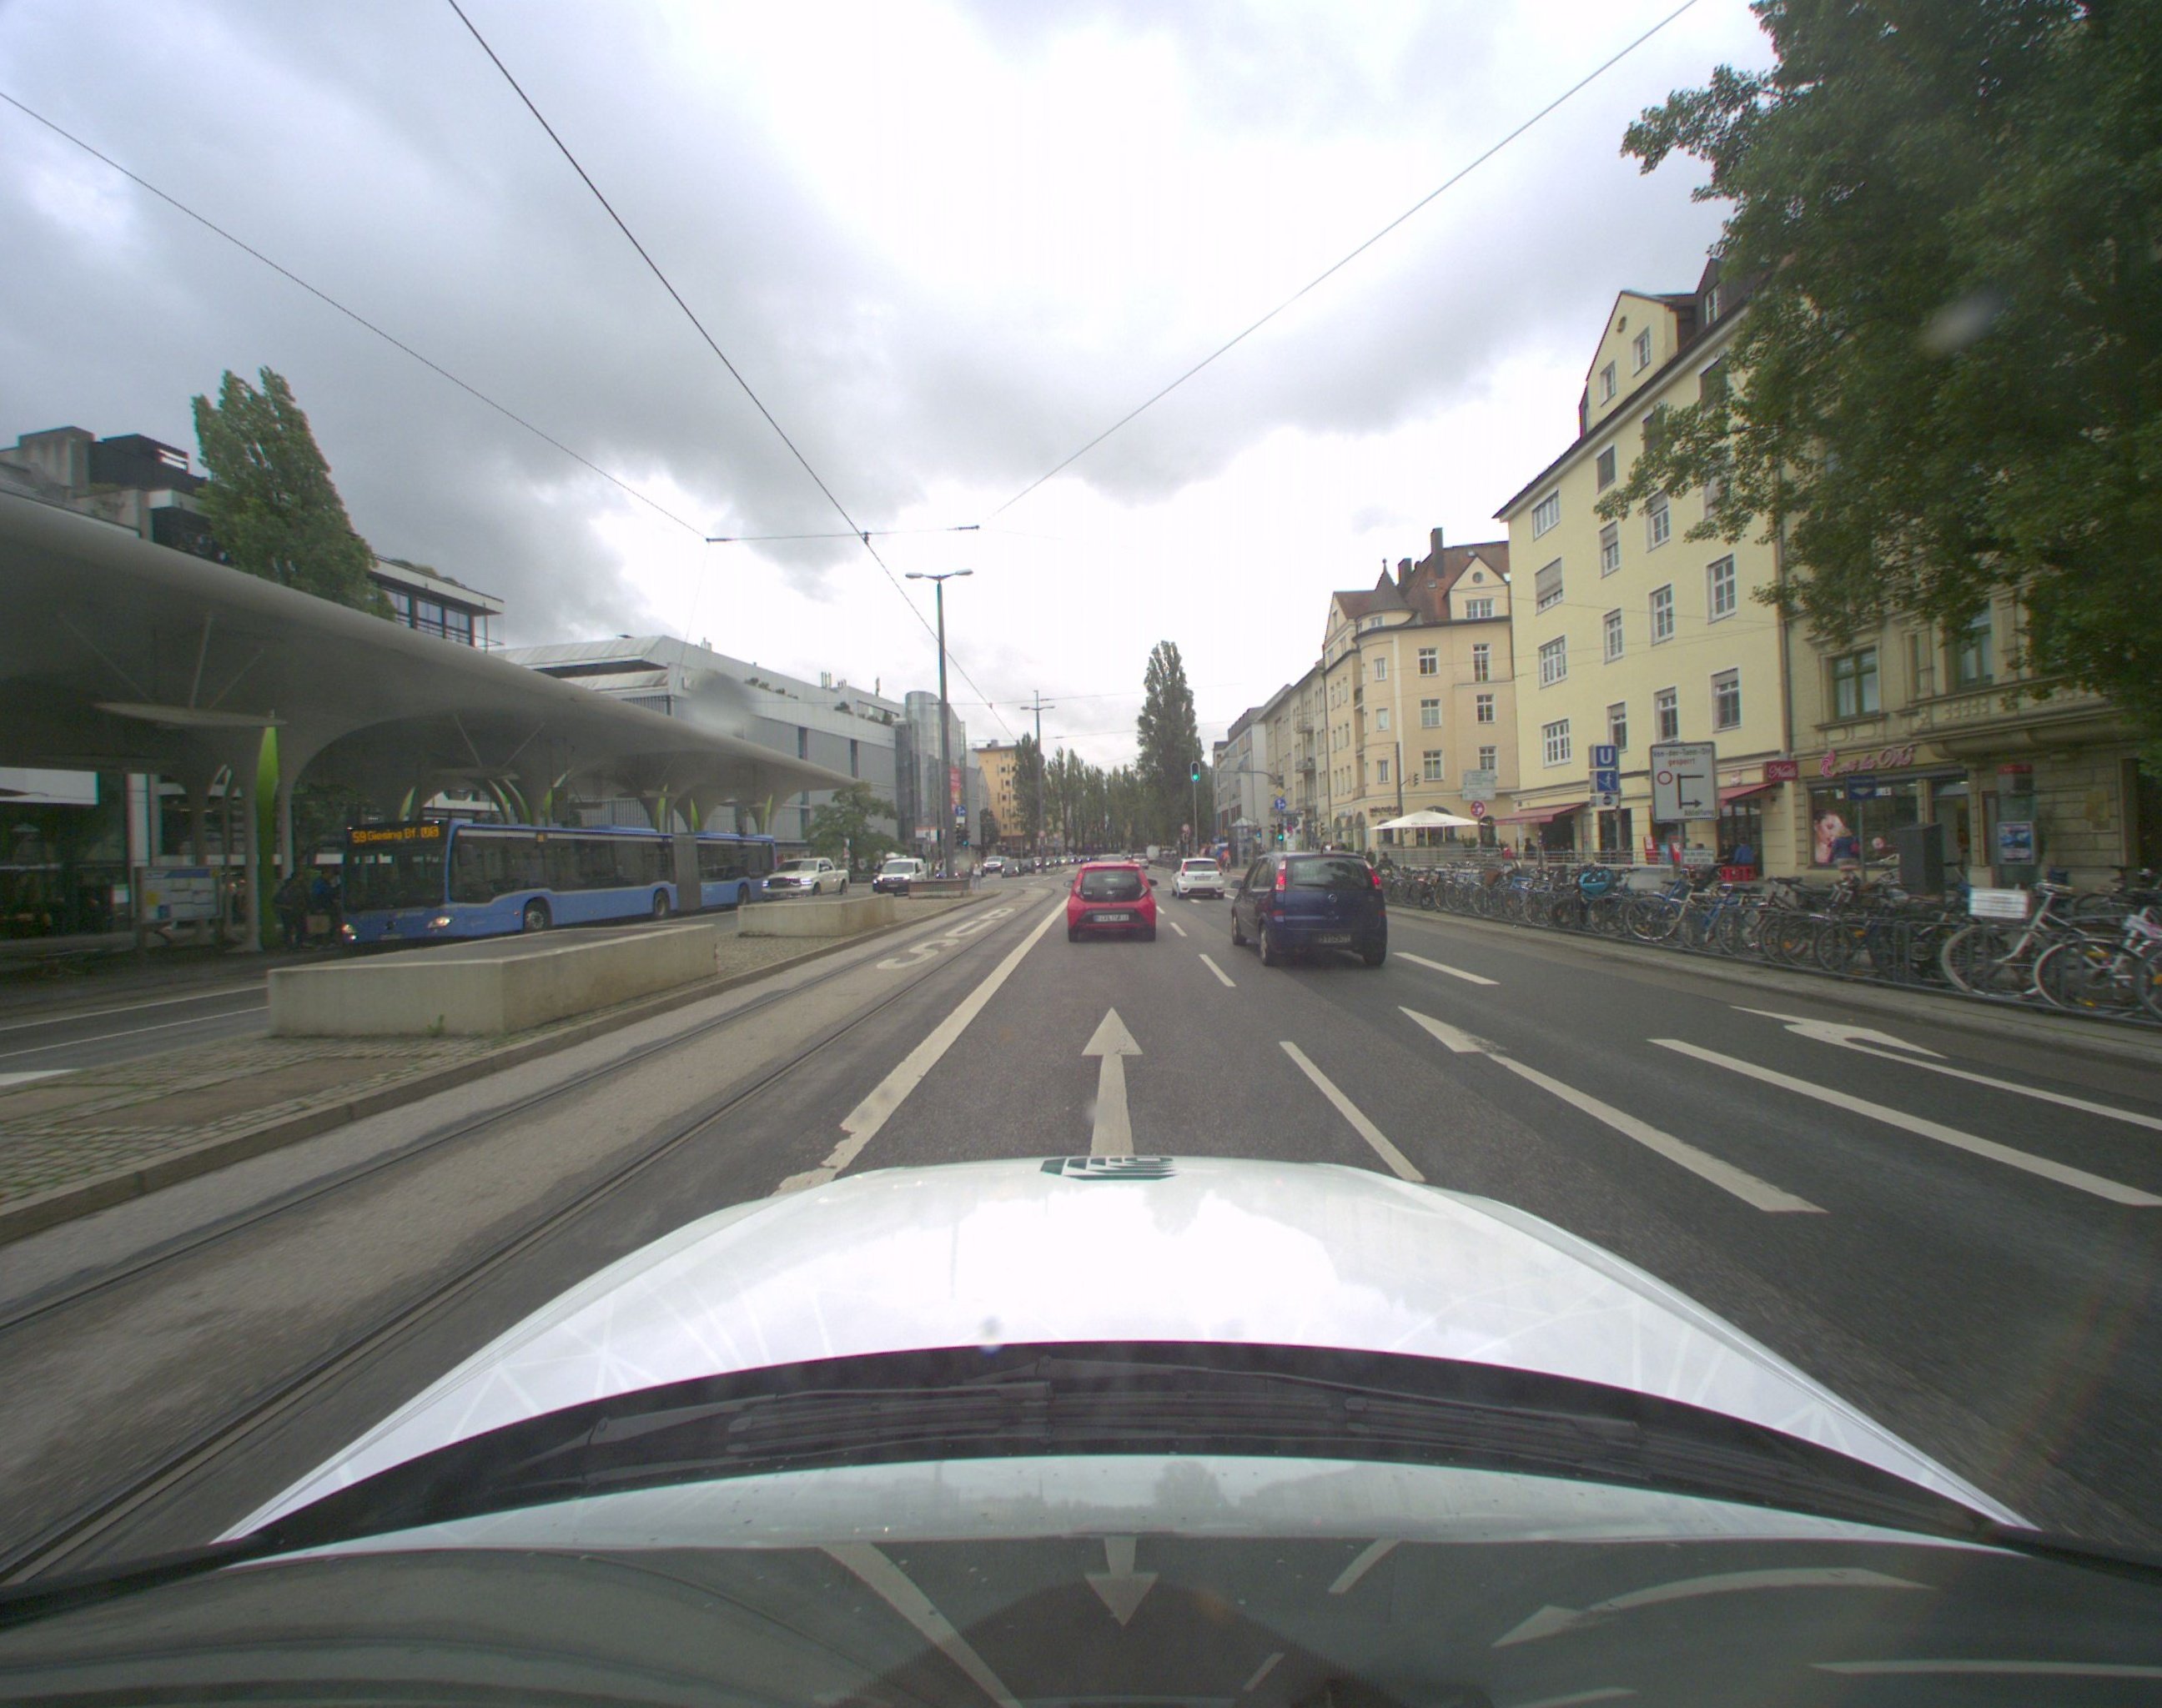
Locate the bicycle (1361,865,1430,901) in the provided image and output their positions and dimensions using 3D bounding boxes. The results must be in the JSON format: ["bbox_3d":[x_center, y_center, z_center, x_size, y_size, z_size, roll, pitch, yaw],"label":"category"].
[{"bbox_3d":[9.163,0.843,23.769,1.818,0.996,0.350,-3,-1,42],"label":"bicycle"}]

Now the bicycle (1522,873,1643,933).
[{"bbox_3d":[8.952,0.849,14.599,1.819,0.995,0.327,0,1,45],"label":"bicycle"}]

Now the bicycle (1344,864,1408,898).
[{"bbox_3d":[9.119,0.844,25.234,1.818,0.996,0.350,-3,-1,42],"label":"bicycle"}]

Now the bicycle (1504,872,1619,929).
[{"bbox_3d":[8.997,0.850,15.310,1.818,0.995,0.327,-1,1,39],"label":"bicycle"}]

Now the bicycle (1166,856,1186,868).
[{"bbox_3d":[8.947,0.757,76.705,1.782,1.158,0.551,-2,0,40],"label":"bicycle"}]

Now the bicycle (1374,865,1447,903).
[{"bbox_3d":[9.033,0.844,22.390,0.350,0.996,1.819,-2,-1,-44],"label":"bicycle"}]

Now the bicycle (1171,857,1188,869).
[{"bbox_3d":[8.905,0.852,73.967,0.502,1.028,1.582,-2,0,-40],"label":"bicycle"}]

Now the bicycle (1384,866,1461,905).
[{"bbox_3d":[9.076,0.844,21.699,1.818,0.996,0.350,-3,-1,42],"label":"bicycle"}]

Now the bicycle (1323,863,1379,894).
[{"bbox_3d":[9.249,0.844,27.924,0.350,0.996,1.819,-2,-1,-45],"label":"bicycle"}]

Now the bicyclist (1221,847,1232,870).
[{"bbox_3d":[10.957,0.333,61.410,0.611,1.657,1.252,-2,0,3],"label":"bicyclist"}]

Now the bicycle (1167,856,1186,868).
[{"bbox_3d":[9.084,0.758,77.511,1.782,1.158,0.490,-2,0,28],"label":"bicycle"}]

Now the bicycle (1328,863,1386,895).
[{"bbox_3d":[9.223,0.844,27.258,0.350,0.996,1.819,-2,-1,-45],"label":"bicycle"}]

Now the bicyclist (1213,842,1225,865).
[{"bbox_3d":[11.407,-0.041,67.189,0.759,1.870,1.133,-2,0,3],"label":"bicyclist"}]

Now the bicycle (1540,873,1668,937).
[{"bbox_3d":[8.932,0.848,13.972,1.819,0.995,0.327,0,1,45],"label":"bicycle"}]

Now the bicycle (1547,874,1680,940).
[{"bbox_3d":[8.806,0.848,13.532,0.327,0.995,1.820,-2,1,-41],"label":"bicycle"}]

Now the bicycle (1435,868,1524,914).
[{"bbox_3d":[9.171,0.842,18.799,1.819,0.995,0.327,0,1,42],"label":"bicycle"}]

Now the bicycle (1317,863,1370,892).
[{"bbox_3d":[9.398,0.845,29.206,0.350,0.996,1.820,-2,-1,-42],"label":"bicycle"}]

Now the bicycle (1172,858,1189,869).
[{"bbox_3d":[8.947,0.854,73.109,0.502,1.028,1.582,-2,0,-40],"label":"bicycle"}]

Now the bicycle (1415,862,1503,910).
[{"bbox_3d":[9.053,0.774,19.556,1.818,1.112,0.470,-3,0,34],"label":"bicycle"}]

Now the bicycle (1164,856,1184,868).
[{"bbox_3d":[9.012,0.780,78.830,1.781,1.158,0.490,-2,0,32],"label":"bicycle"}]

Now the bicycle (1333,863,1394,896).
[{"bbox_3d":[9.203,0.844,26.571,1.818,0.996,0.350,-3,-1,42],"label":"bicycle"}]

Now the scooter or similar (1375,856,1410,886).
[{"bbox_3d":[11.581,0.631,30.289,0.773,1.075,1.256,-2,0,0],"label":"scooter or similar"}]

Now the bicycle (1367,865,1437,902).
[{"bbox_3d":[9.087,0.844,23.107,0.350,0.996,1.819,-2,-1,-44],"label":"bicycle"}]

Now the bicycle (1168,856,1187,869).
[{"bbox_3d":[9.008,0.757,76.020,1.782,1.158,0.551,-2,0,40],"label":"bicycle"}]

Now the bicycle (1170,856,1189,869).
[{"bbox_3d":[9.010,0.769,74.625,0.562,1.198,1.782,-2,0,-44],"label":"bicycle"}]

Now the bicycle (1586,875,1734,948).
[{"bbox_3d":[8.826,0.849,12.479,1.819,0.995,0.327,0,1,45],"label":"bicycle"}]

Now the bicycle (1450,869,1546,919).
[{"bbox_3d":[8.947,0.842,17.534,0.327,0.995,1.819,-2,1,-43],"label":"bicycle"}]

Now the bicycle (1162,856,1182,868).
[{"bbox_3d":[8.961,0.792,80.210,1.781,1.158,0.656,-2,0,38],"label":"bicycle"}]

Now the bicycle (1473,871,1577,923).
[{"bbox_3d":[9.068,0.850,16.681,1.818,0.995,0.327,-1,1,39],"label":"bicycle"}]

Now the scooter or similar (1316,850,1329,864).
[{"bbox_3d":[18.176,0.205,61.291,0.812,0.994,0.597,-2,3,24],"label":"scooter or similar"}]

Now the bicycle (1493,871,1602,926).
[{"bbox_3d":[9.083,0.850,15.911,1.818,0.995,0.327,-1,1,39],"label":"bicycle"}]

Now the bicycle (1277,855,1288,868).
[{"bbox_3d":[16.007,0.613,64.747,0.492,0.975,1.867,-2,0,2],"label":"bicycle"}]

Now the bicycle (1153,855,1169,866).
[{"bbox_3d":[9.355,0.755,95.718,1.814,1.136,0.590,-2,0,38],"label":"bicycle"}]

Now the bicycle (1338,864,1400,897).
[{"bbox_3d":[9.157,0.844,25.906,1.818,0.996,0.350,-3,-1,42],"label":"bicycle"}]

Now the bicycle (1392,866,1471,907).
[{"bbox_3d":[9.027,0.843,21.034,0.350,0.996,1.819,-2,-1,-44],"label":"bicycle"}]

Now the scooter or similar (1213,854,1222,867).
[{"bbox_3d":[13.110,0.629,78.299,0.360,1.176,1.356,-3,0,32],"label":"scooter or similar"}]

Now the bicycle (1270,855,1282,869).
[{"bbox_3d":[15.508,0.614,64.780,0.564,1.108,1.867,-2,0,2],"label":"bicycle"}]

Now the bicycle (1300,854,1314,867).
[{"bbox_3d":[17.939,0.517,64.627,0.493,1.059,1.865,-2,0,-2],"label":"bicycle"}]

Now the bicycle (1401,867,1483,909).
[{"bbox_3d":[8.954,0.843,20.261,0.327,0.996,1.819,-2,0,-44],"label":"bicycle"}]

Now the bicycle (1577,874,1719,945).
[{"bbox_3d":[8.954,0.848,12.931,0.327,0.995,1.820,-2,1,-41],"label":"bicycle"}]

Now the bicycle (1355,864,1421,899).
[{"bbox_3d":[9.185,0.843,24.424,1.818,0.996,0.350,-3,-1,42],"label":"bicycle"}]

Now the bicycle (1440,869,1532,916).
[{"bbox_3d":[9.036,0.842,18.226,1.819,0.995,0.327,0,1,42],"label":"bicycle"}]

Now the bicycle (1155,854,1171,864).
[{"bbox_3d":[9.281,0.553,92.029,1.815,1.136,0.590,-2,0,45],"label":"bicycle"}]
